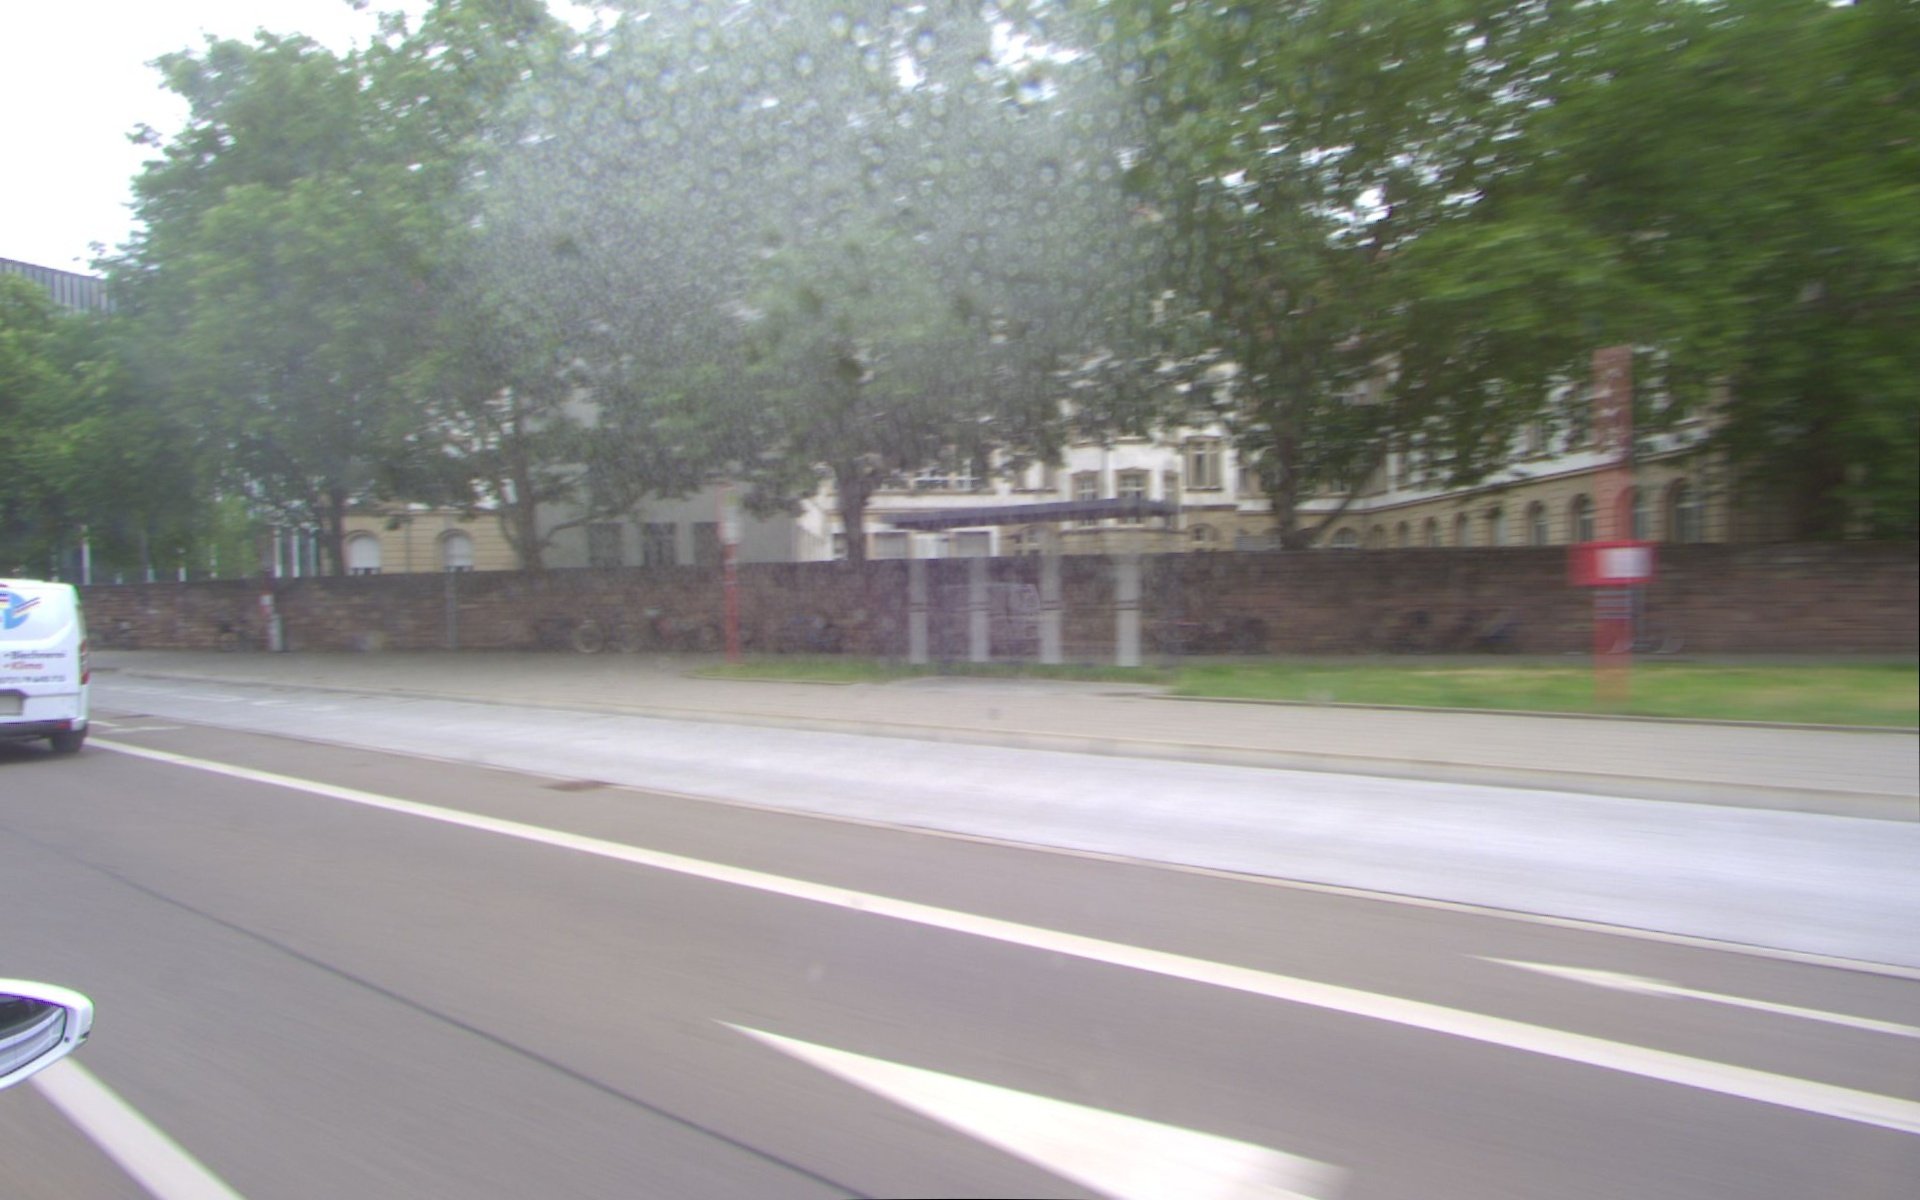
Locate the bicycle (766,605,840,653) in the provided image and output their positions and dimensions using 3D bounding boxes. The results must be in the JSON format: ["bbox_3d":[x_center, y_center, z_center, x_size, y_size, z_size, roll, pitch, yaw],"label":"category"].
[{"bbox_3d":[-3.773,0.693,24.129,1.624,1.120,0.597,-1,2,15],"label":"bicycle"}]

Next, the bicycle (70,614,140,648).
[{"bbox_3d":[-29.080,1.063,34.073,1.935,1.088,0.940,-1,3,20],"label":"bicycle"}]

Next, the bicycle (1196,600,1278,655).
[{"bbox_3d":[6.109,0.601,22.125,1.680,1.145,0.595,-1,2,9],"label":"bicycle"}]

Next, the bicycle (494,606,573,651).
[{"bbox_3d":[-11.317,0.759,26.618,1.757,1.115,0.720,-1,2,5],"label":"bicycle"}]

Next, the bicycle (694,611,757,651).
[{"bbox_3d":[-5.870,0.778,25.064,1.498,0.955,0.416,-1,3,17],"label":"bicycle"}]

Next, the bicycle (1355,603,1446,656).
[{"bbox_3d":[9.401,0.631,21.411,1.680,1.074,0.595,-1,2,9],"label":"bicycle"}]

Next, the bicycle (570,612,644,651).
[{"bbox_3d":[-9.175,0.814,26.060,1.738,0.964,0.654,-1,2,17],"label":"bicycle"}]

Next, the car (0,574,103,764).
[{"bbox_3d":[-11.955,0.737,11.713,4.285,1.998,1.961,0,-1,35],"label":"car"}]

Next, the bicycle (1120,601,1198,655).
[{"bbox_3d":[4.429,0.622,22.395,1.680,1.152,0.595,-1,2,9],"label":"bicycle"}]

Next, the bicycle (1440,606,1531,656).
[{"bbox_3d":[11.072,0.643,21.133,1.605,1.005,0.550,-1,2,6],"label":"bicycle"}]

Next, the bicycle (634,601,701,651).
[{"bbox_3d":[-7.456,0.653,25.547,1.597,1.238,0.499,-1,3,17],"label":"bicycle"}]

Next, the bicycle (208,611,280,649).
[{"bbox_3d":[-22.331,0.932,31.235,1.890,1.143,0.848,-1,3,20],"label":"bicycle"}]
